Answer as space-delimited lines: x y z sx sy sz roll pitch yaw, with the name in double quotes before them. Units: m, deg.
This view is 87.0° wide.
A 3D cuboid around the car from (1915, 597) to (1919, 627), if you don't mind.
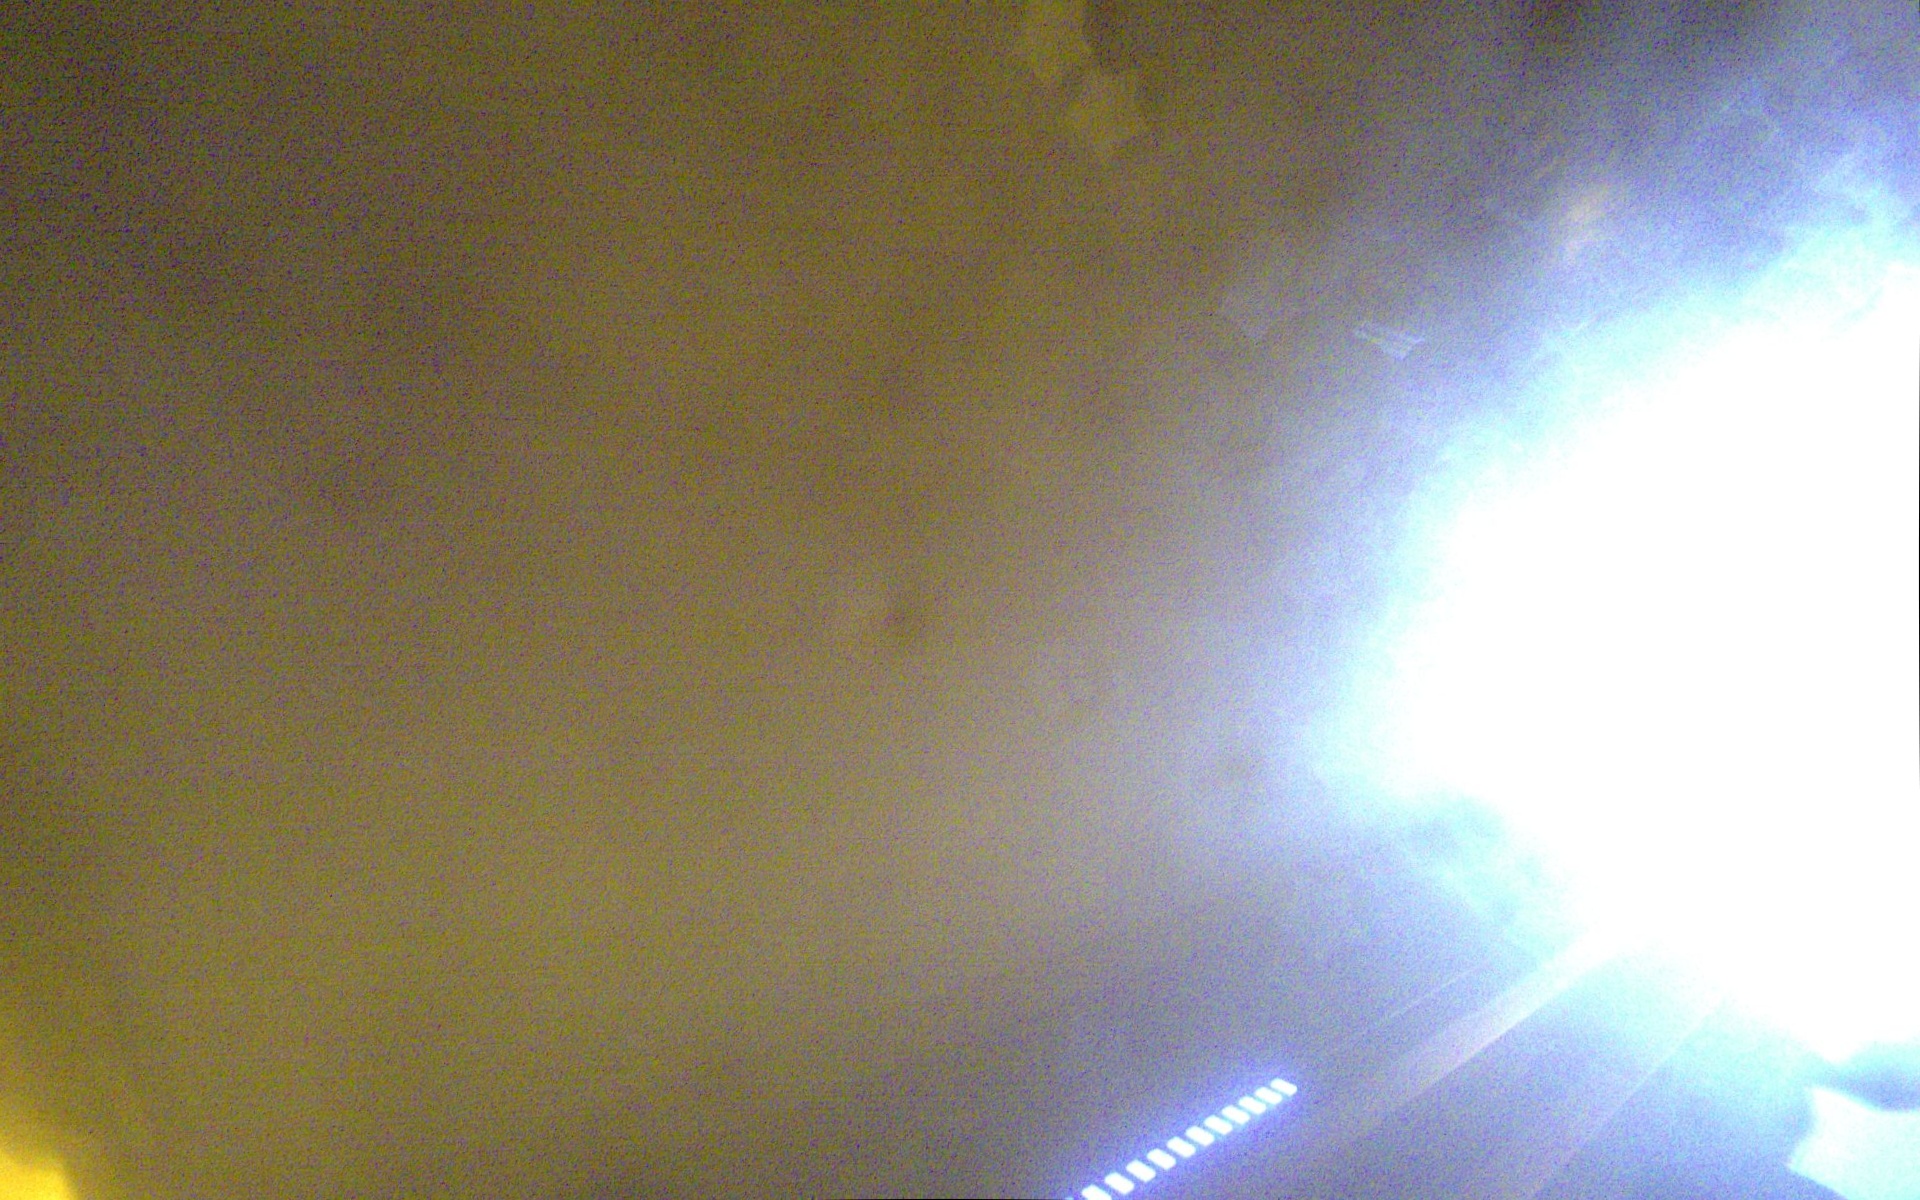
"car" 68.813 0.837 71.375 1.892 2.039 3.941 1 1 41
